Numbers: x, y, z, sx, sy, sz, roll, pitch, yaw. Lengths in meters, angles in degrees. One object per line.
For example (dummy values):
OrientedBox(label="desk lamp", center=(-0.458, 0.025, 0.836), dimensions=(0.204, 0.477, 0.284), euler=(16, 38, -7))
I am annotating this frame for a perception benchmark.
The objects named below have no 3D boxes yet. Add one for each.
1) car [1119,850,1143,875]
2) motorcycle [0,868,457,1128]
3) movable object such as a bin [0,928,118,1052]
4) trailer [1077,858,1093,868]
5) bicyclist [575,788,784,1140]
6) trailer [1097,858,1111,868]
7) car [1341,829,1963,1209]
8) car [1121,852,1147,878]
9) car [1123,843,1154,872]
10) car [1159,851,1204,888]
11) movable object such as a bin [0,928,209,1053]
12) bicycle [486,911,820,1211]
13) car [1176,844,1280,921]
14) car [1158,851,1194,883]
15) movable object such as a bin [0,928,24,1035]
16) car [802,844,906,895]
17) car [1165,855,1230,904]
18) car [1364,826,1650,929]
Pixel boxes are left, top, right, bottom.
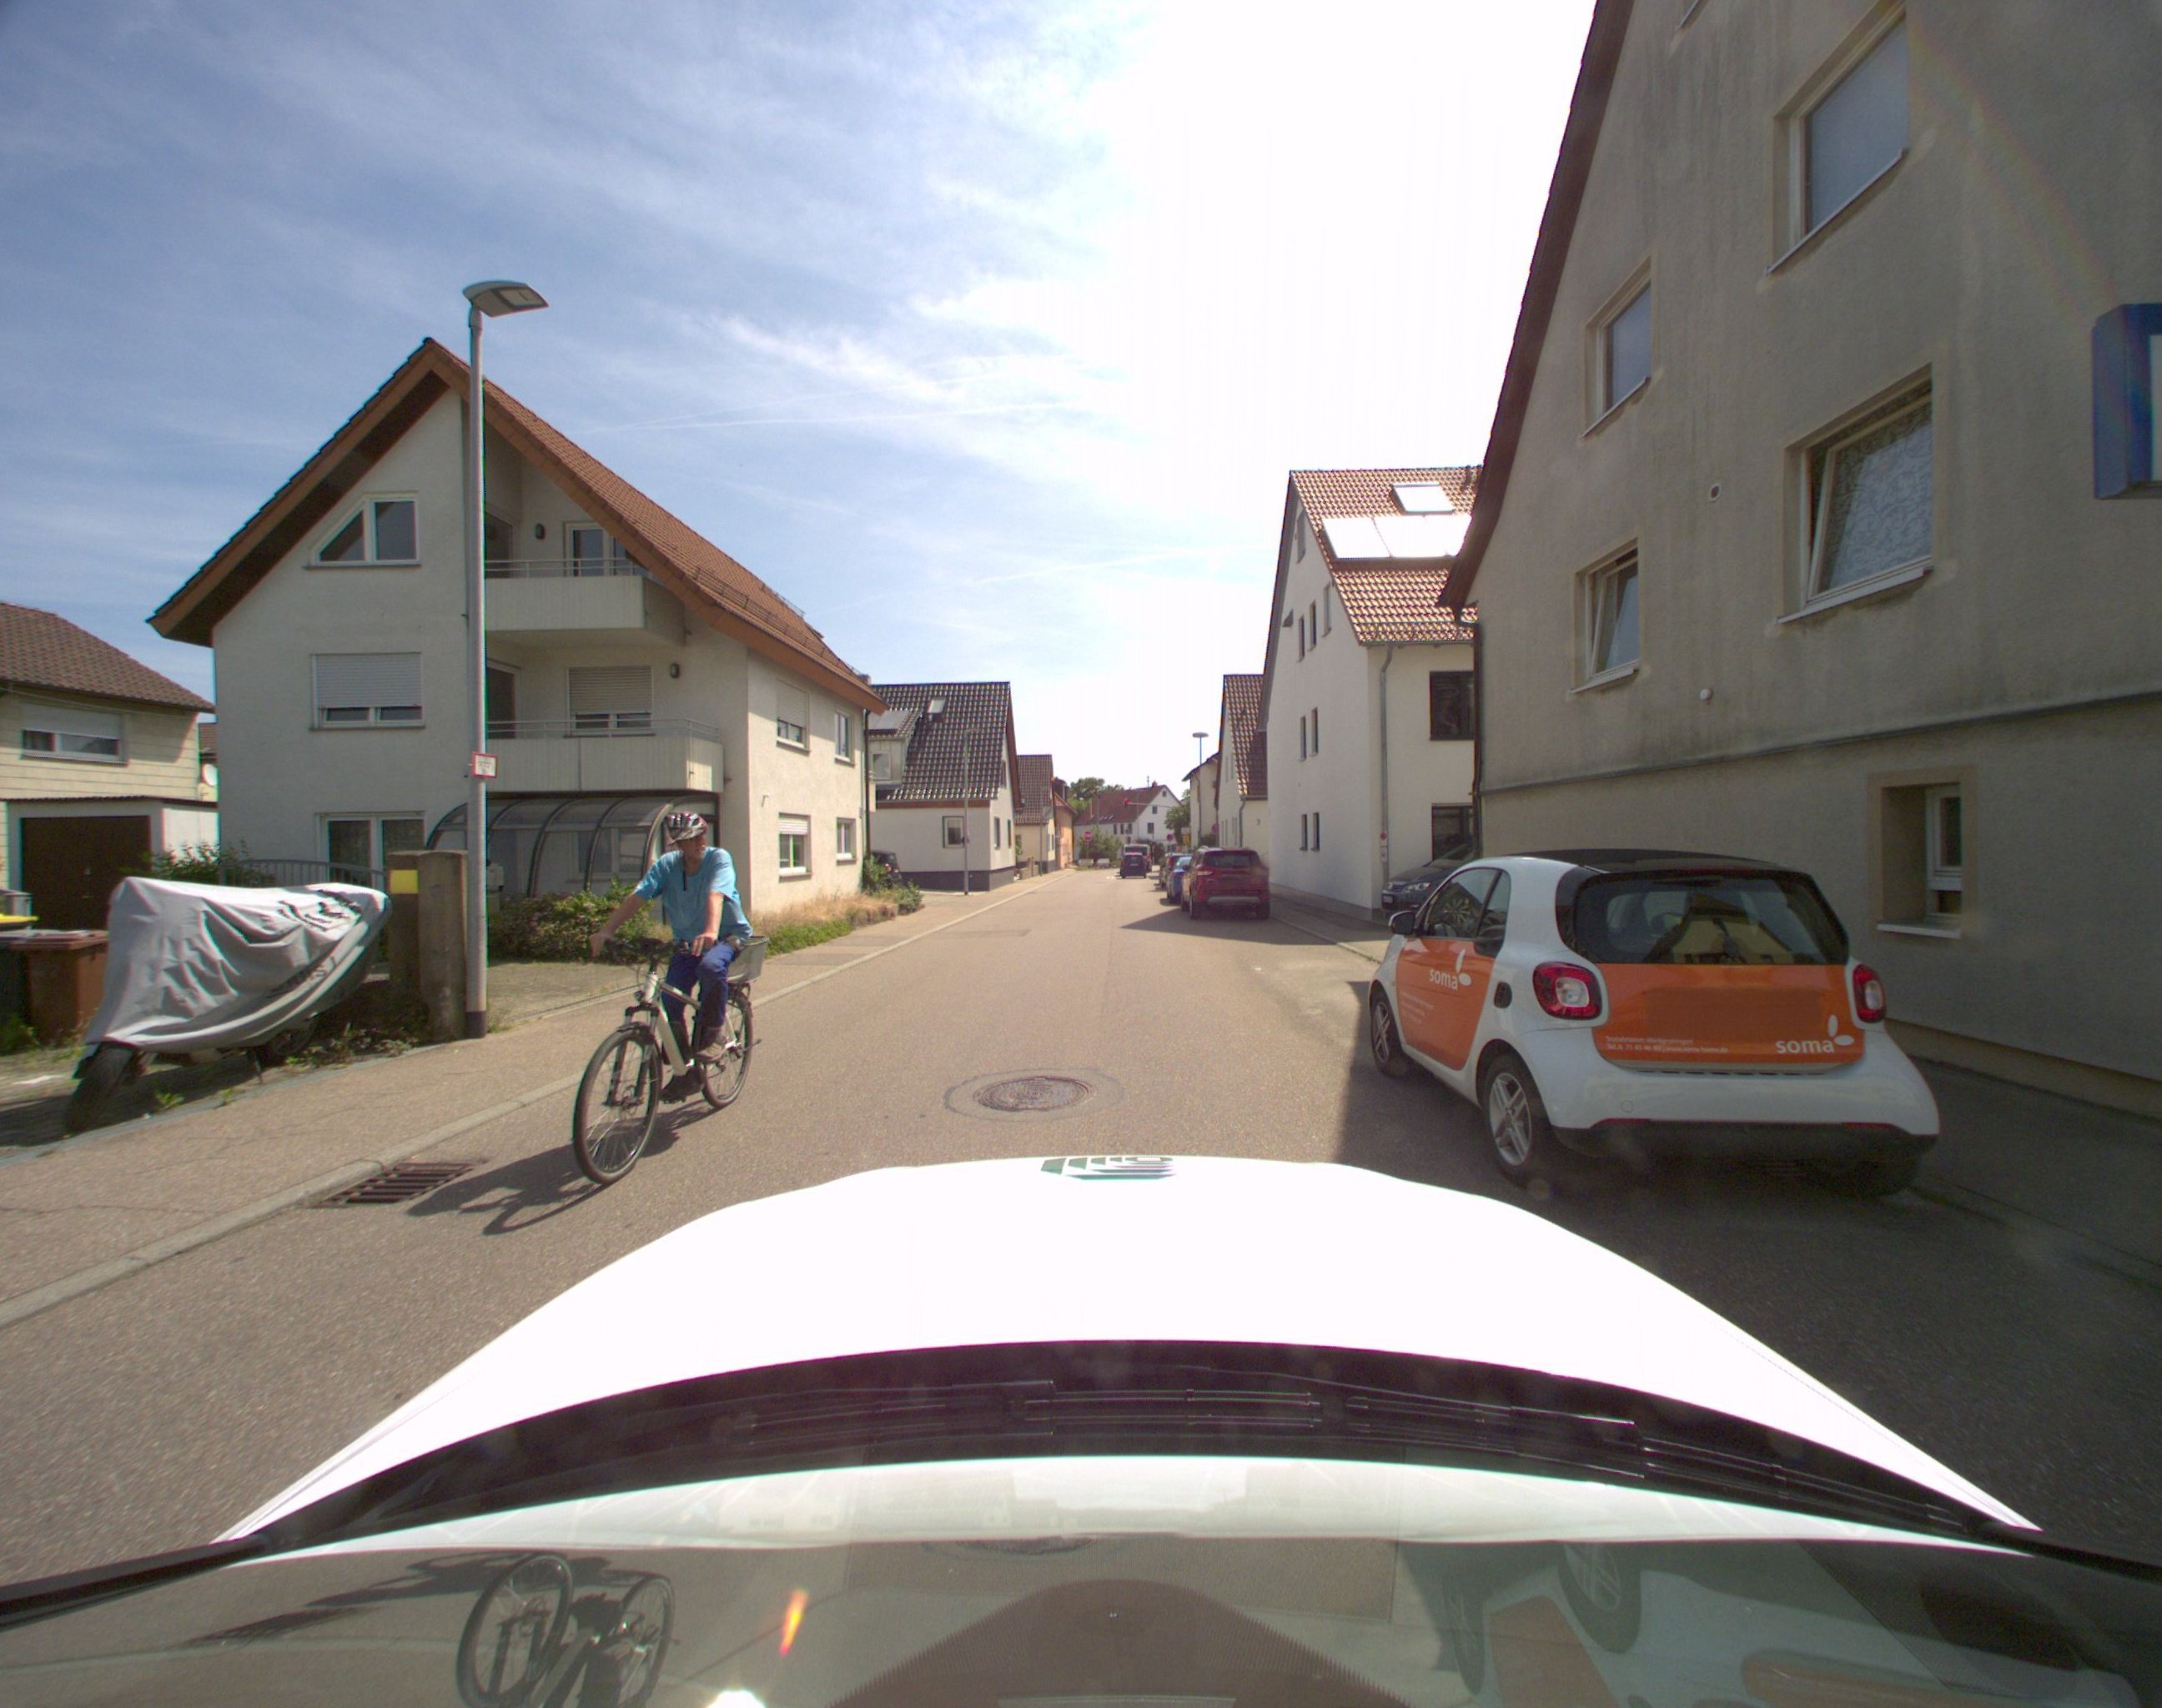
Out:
OrientedBox(label="car", center=(3.474, 0.556, 56.089), dimensions=(1.508, 1.624, 3.189), euler=(-1, 0, 6))
OrientedBox(label="motorcycle", center=(-5.706, 0.825, 5.708), dimensions=(0.780, 1.393, 2.354), euler=(-1, 0, 2))
OrientedBox(label="movable object such as a bin", center=(-8.912, 1.112, 6.803), dimensions=(0.797, 0.905, 0.774), euler=(-1, 0, 1))
OrientedBox(label="trailer", center=(0.444, 0.915, 81.135), dimensions=(1.495, 0.927, 1.013), euler=(1, 0, 4))
OrientedBox(label="bicyclist", center=(-2.231, 0.564, 4.647), dimensions=(0.710, 1.799, 0.942), euler=(0, 0, 1))
OrientedBox(label="trailer", center=(2.287, 0.932, 80.802), dimensions=(1.305, 0.970, 0.934), euler=(-1, 0, 4))
OrientedBox(label="car", center=(2.832, 0.679, 4.878), dimensions=(1.667, 1.559, 3.041), euler=(0, 0, 2))
OrientedBox(label="car", center=(3.358, 0.686, 51.108), dimensions=(1.508, 1.567, 3.189), euler=(0, 0, 6))
OrientedBox(label="car", center=(4.665, 0.264, 65.318), dimensions=(2.116, 2.158, 4.748), euler=(-1, 0, 9))
OrientedBox(label="car", center=(4.392, 0.636, 35.994), dimensions=(1.562, 1.545, 3.449), euler=(0, 0, 0))
OrientedBox(label="movable object such as a bin", center=(-8.104, 1.110, 6.799), dimensions=(0.797, 0.905, 0.774), euler=(-1, 0, 1))
OrientedBox(label="bicycle", center=(-2.203, 0.970, 4.614), dimensions=(0.668, 1.132, 2.190), euler=(-1, 0, 2))
OrientedBox(label="car", center=(3.501, 0.624, 20.120), dimensions=(1.869, 1.700, 4.183), euler=(0, 0, 1))
OrientedBox(label="car", center=(4.659, 0.624, 40.199), dimensions=(1.493, 1.513, 3.363), euler=(0, 0, 2))
OrientedBox(label="movable object such as a bin", center=(-9.729, 1.115, 6.797), dimensions=(0.797, 0.905, 0.774), euler=(-1, 0, 1))
OrientedBox(label="car", center=(-7.958, 0.525, 28.752), dimensions=(3.099, 1.577, 1.715), euler=(3, 0, 1))
OrientedBox(label="car", center=(3.648, 0.741, 26.194), dimensions=(1.755, 1.424, 4.597), euler=(0, 0, 4))
OrientedBox(label="car", center=(8.054, 0.416, 15.715), dimensions=(4.501, 1.843, 2.000), euler=(0, 0, -1))
